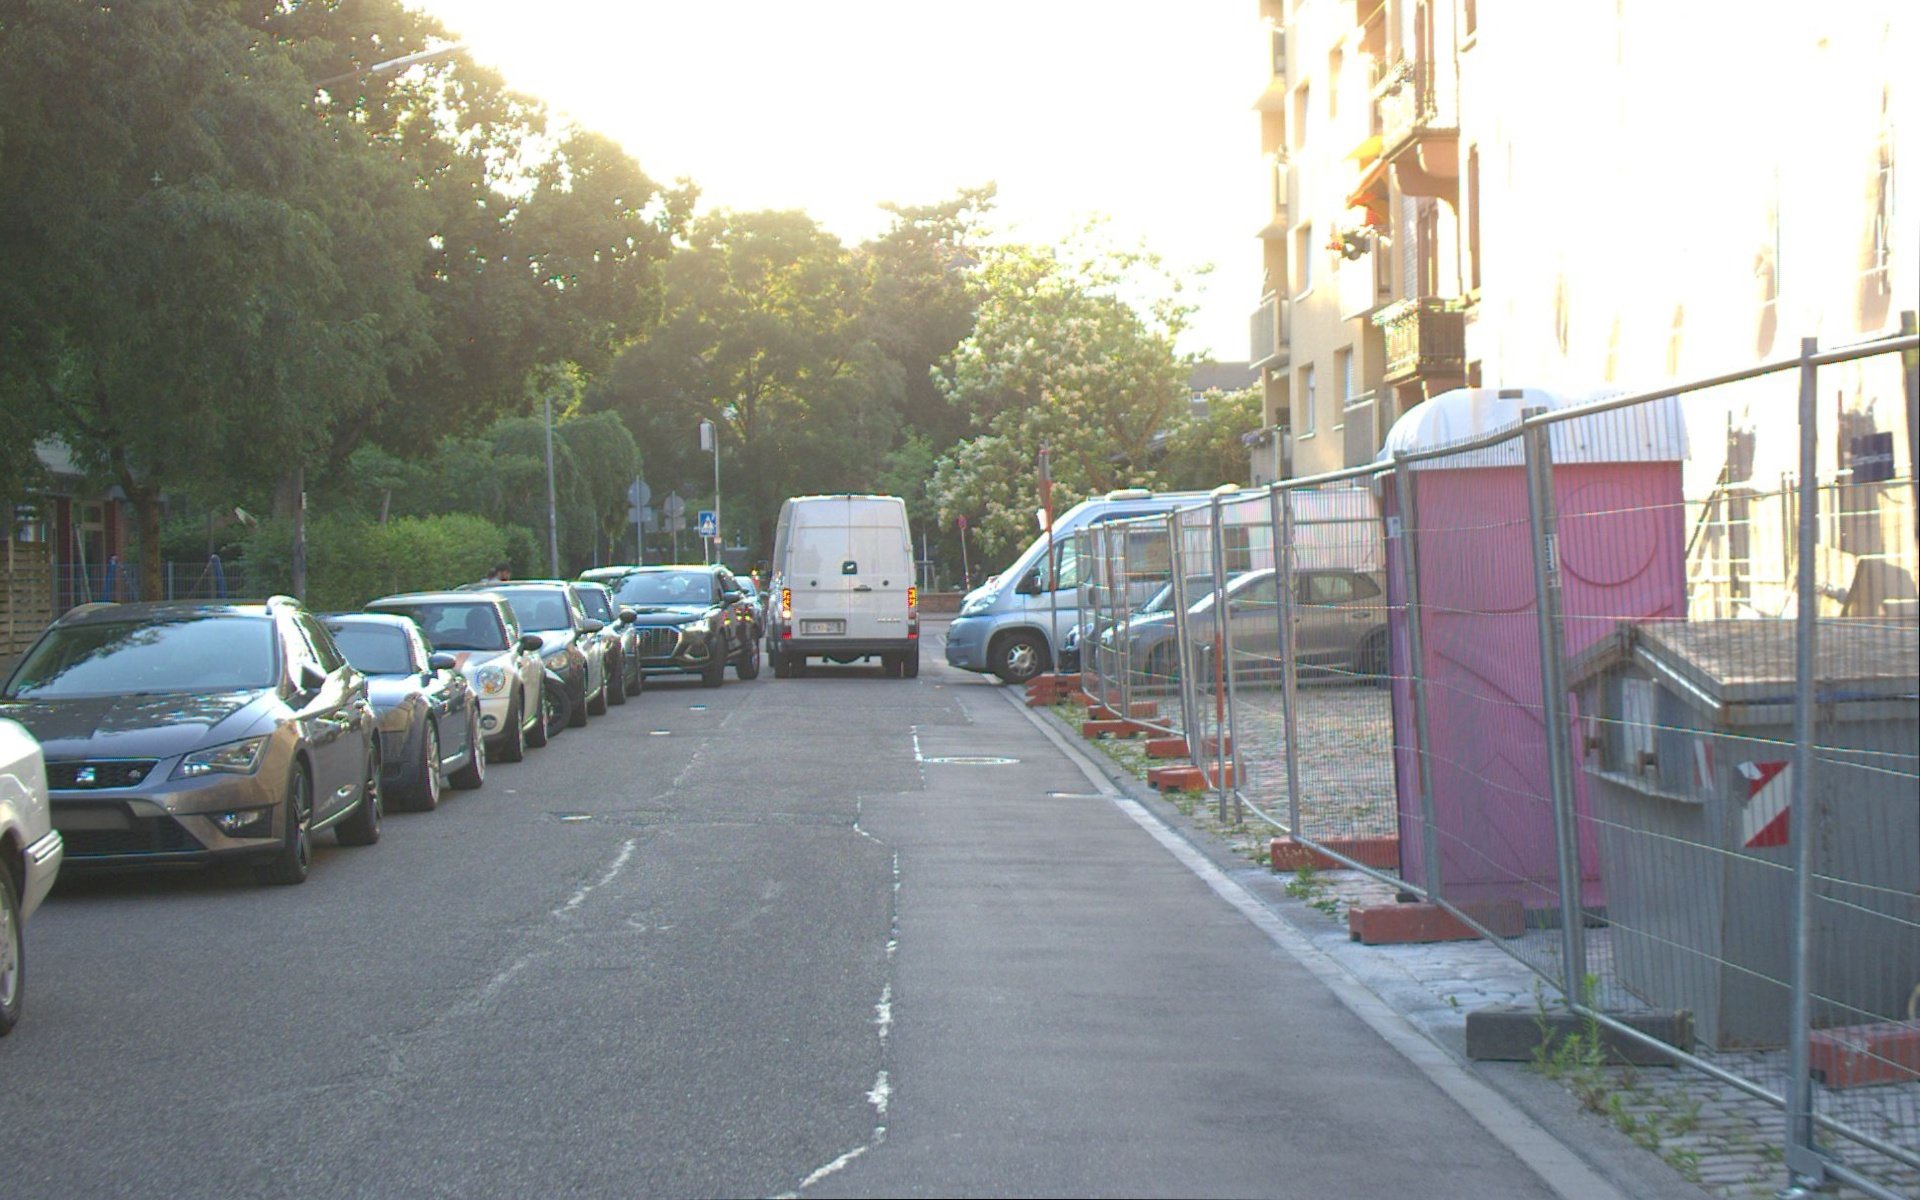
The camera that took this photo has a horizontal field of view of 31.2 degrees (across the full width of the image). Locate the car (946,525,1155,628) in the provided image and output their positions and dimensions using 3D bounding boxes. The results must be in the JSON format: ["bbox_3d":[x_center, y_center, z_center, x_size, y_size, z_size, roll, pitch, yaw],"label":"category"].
[{"bbox_3d":[1.973,-0.523,76.007,4.495,2.223,2.032,0,0,-2],"label":"car"}]

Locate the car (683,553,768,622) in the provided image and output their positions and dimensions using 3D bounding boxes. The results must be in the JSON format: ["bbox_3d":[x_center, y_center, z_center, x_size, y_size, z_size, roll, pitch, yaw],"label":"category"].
[{"bbox_3d":[-5.654,-0.318,83.364,1.993,1.612,4.001,0,1,-3],"label":"car"}]

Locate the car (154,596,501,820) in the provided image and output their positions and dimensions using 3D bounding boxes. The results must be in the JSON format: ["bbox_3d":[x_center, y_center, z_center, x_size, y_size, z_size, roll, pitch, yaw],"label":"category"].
[{"bbox_3d":[-4.264,0.678,23.743,1.659,1.309,4.155,-2,1,-1],"label":"car"}]

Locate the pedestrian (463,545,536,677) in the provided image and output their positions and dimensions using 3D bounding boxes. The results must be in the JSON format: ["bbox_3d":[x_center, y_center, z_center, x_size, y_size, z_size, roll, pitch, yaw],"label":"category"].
[{"bbox_3d":[-6.412,0.147,47.888,0.937,1.824,0.787,0,0,-3],"label":"pedestrian"}]

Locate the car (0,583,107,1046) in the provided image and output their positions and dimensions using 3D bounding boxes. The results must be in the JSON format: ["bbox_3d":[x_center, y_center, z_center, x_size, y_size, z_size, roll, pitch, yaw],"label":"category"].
[{"bbox_3d":[-3.902,0.734,9.933,1.782,1.441,4.749,-3,1,-2],"label":"car"}]

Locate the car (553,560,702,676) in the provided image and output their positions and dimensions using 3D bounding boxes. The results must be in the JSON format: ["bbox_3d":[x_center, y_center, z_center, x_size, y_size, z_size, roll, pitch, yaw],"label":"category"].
[{"bbox_3d":[-5.040,0.240,52.579,1.783,1.625,4.000,-3,1,1],"label":"car"}]

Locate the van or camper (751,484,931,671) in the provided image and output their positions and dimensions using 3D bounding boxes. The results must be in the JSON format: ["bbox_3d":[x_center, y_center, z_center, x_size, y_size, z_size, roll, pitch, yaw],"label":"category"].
[{"bbox_3d":[-1.722,-0.352,50.824,2.453,2.538,6.083,1,1,-1],"label":"van or camper"}]

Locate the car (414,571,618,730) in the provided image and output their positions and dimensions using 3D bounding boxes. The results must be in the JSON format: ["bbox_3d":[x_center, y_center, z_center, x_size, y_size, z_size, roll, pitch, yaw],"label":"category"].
[{"bbox_3d":[-4.569,0.474,35.908,1.715,1.491,4.361,-2,1,-3],"label":"car"}]

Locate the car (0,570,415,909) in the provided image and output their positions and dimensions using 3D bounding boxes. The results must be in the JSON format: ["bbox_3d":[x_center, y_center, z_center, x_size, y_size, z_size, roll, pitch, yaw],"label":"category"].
[{"bbox_3d":[-4.161,0.636,18.399,1.859,1.532,4.759,-2,1,-2],"label":"car"}]

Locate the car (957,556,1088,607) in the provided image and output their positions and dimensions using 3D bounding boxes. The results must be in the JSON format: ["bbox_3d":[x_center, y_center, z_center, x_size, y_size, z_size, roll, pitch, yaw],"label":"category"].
[{"bbox_3d":[1.966,-0.594,109.429,3.986,1.612,2.000,0,1,-5],"label":"car"}]

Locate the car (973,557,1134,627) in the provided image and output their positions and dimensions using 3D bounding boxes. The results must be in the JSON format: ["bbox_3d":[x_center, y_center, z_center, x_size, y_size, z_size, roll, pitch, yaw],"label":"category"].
[{"bbox_3d":[2.345,-0.212,87.158,3.987,1.722,2.000,0,0,-1],"label":"car"}]

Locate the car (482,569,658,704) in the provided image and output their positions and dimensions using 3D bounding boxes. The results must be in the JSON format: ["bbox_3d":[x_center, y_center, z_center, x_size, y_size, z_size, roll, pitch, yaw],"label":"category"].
[{"bbox_3d":[-4.608,0.398,41.066,1.637,1.473,3.993,-2,1,0],"label":"car"}]

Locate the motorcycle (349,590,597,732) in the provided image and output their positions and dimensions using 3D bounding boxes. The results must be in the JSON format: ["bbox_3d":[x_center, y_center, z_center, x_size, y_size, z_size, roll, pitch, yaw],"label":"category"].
[{"bbox_3d":[-4.626,0.563,32.713,2.165,1.299,0.879,1,0,13],"label":"motorcycle"}]

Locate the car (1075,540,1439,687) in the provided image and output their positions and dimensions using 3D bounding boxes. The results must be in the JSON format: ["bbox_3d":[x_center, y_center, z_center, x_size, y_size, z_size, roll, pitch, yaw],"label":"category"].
[{"bbox_3d":[3.530,0.149,41.317,3.986,1.510,2.020,-3,1,-6],"label":"car"}]

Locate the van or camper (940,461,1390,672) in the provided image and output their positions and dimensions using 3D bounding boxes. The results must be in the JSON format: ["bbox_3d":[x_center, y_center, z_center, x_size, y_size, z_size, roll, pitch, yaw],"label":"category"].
[{"bbox_3d":[2.731,-0.459,46.913,5.928,2.760,2.110,1,0,-2],"label":"van or camper"}]

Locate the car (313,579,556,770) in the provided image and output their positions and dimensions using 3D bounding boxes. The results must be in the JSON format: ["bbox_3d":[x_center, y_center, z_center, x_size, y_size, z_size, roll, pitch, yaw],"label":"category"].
[{"bbox_3d":[-4.443,0.584,29.500,1.601,1.426,3.804,-3,1,-3],"label":"car"}]

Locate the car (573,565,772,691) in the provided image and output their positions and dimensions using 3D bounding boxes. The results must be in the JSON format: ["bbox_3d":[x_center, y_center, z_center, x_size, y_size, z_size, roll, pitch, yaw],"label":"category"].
[{"bbox_3d":[-3.773,0.332,45.870,1.804,1.564,4.564,-1,0,6],"label":"car"}]
